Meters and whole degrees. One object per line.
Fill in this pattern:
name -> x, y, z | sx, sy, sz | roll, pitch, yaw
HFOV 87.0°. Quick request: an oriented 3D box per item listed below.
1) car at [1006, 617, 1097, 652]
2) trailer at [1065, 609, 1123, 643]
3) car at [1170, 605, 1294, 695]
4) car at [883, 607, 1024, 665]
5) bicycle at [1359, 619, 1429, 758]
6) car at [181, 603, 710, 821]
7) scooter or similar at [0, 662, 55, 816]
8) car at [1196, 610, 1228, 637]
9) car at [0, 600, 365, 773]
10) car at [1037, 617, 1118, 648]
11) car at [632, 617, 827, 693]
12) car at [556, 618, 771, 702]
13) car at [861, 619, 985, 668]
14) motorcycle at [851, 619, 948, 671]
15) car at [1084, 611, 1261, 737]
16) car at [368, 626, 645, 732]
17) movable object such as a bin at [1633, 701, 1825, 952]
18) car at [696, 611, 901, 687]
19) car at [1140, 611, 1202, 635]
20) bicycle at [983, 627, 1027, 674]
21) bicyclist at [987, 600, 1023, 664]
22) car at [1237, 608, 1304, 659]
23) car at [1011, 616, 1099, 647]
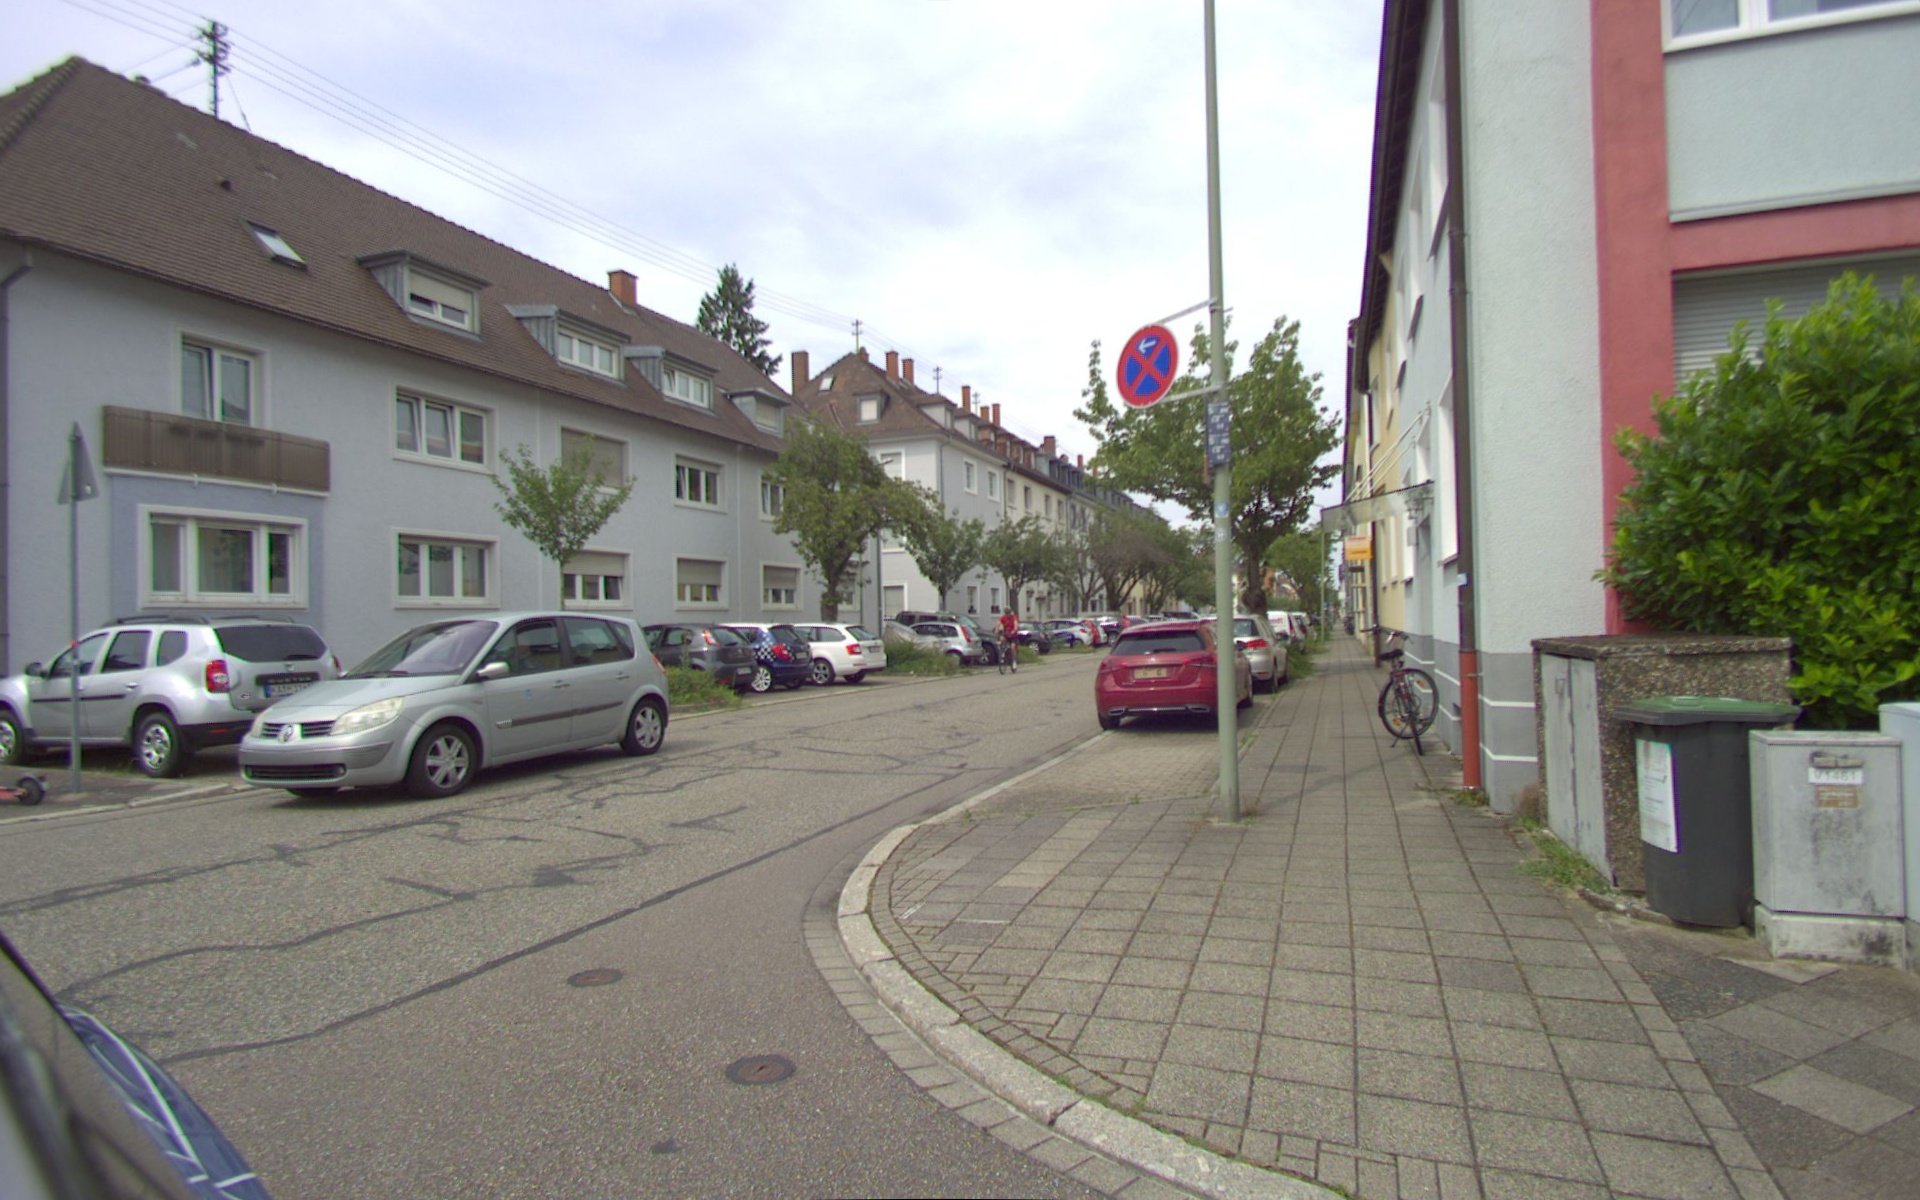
car -> 4.267, 1.607, 47.141 | 3.967, 1.542, 1.757 | 0, -2, 18
trailer -> 7.441, 1.423, 56.212 | 2.953, 1.845, 1.389 | 0, -1, 25
car -> 5.438, 0.926, 19.873 | 1.765, 1.402, 4.244 | -8, -3, 21
car -> -0.230, 1.194, 34.671 | 4.512, 1.872, 1.778 | 0, -1, 24
bicycle -> 4.094, 0.776, 9.622 | 0.488, 1.161, 1.861 | 0, -1, 20
car -> -4.623, 0.884, 10.083 | 1.776, 1.616, 4.804 | -2, -1, 20
scooter or similar -> -8.558, 1.174, 8.737 | 1.228, 1.253, 0.421 | 0, -1, 9
car -> 19.857, 1.841, 79.490 | 1.984, 1.929, 4.675 | -4, -2, 18
car -> -8.879, 0.929, 11.231 | 3.907, 1.645, 1.855 | -2, -4, 20
car -> 5.896, 1.607, 50.754 | 3.734, 1.452, 1.851 | 0, -1, 22
car -> -5.110, 1.161, 22.442 | 3.972, 1.519, 1.700 | 0, -1, 21
car -> -5.956, 1.136, 20.351 | 3.972, 1.519, 1.700 | 0, -1, 21
car -> -1.170, 1.351, 32.481 | 3.606, 1.465, 1.763 | 0, -1, 17
motorcycle -> -1.808, 1.339, 30.281 | 2.686, 1.475, 1.025 | -2, -1, 18
car -> 3.228, 0.919, 14.631 | 1.869, 1.497, 4.481 | 0, -1, 20
car -> -7.140, 1.170, 15.956 | 3.972, 1.432, 1.700 | 0, -1, 21
movable object such as a bin -> 3.170, 0.907, 4.211 | 0.483, 0.914, 0.473 | 0, -1, 15
car -> -3.887, 1.108, 24.413 | 4.598, 1.676, 1.878 | 0, -1, 22
car -> 18.400, 1.977, 88.209 | 5.201, 2.038, 2.062 | 0, -1, 17
bicycle -> 1.295, 1.418, 28.802 | 0.689, 1.237, 1.924 | -3, -2, 20
bicyclist -> 1.278, 0.906, 28.820 | 0.689, 1.783, 0.980 | -3, -2, 20
car -> 10.613, 1.083, 34.397 | 1.911, 1.593, 4.351 | 0, -1, 21
car -> 4.623, 1.504, 49.070 | 3.967, 1.421, 1.757 | 0, -1, 18
